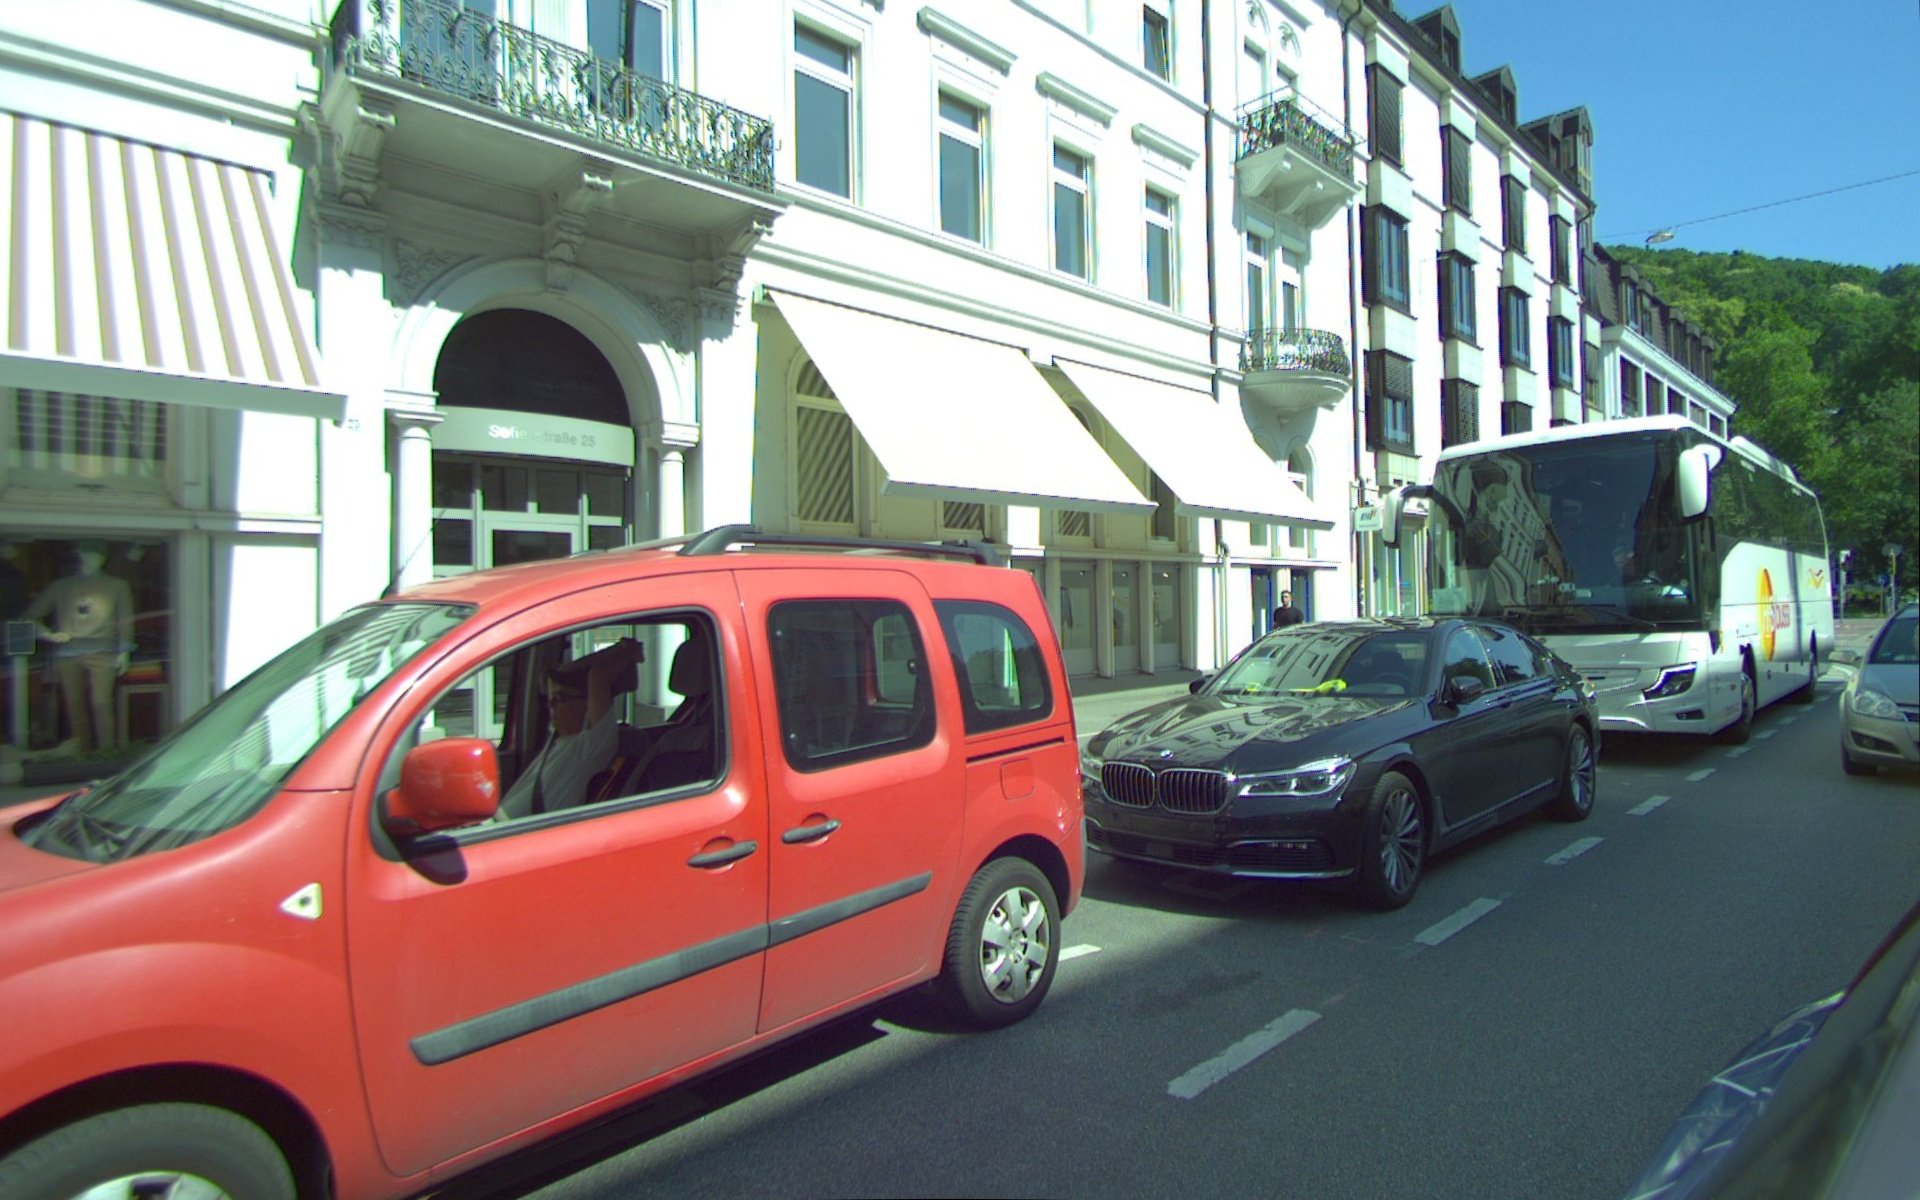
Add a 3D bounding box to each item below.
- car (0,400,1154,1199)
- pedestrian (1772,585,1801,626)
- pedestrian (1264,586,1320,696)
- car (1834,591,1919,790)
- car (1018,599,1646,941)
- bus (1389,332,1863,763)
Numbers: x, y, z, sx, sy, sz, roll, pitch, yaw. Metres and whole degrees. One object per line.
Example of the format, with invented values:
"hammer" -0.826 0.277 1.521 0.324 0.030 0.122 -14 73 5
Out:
"car" -1.307 0.640 3.450 1.826 1.888 4.286 -4 -3 43
"pedestrian" 38.309 0.238 46.896 0.683 1.859 0.835 -2 0 -34
"pedestrian" 5.433 0.649 16.538 0.756 1.753 0.567 0 -1 -43
"car" 9.252 0.673 9.055 4.333 1.542 1.708 -1 -1 -43
"car" 2.871 0.797 6.948 5.137 1.489 1.860 0 -3 -43
"bus" 10.078 -0.447 14.192 12.223 3.791 2.882 -1 -3 -45
